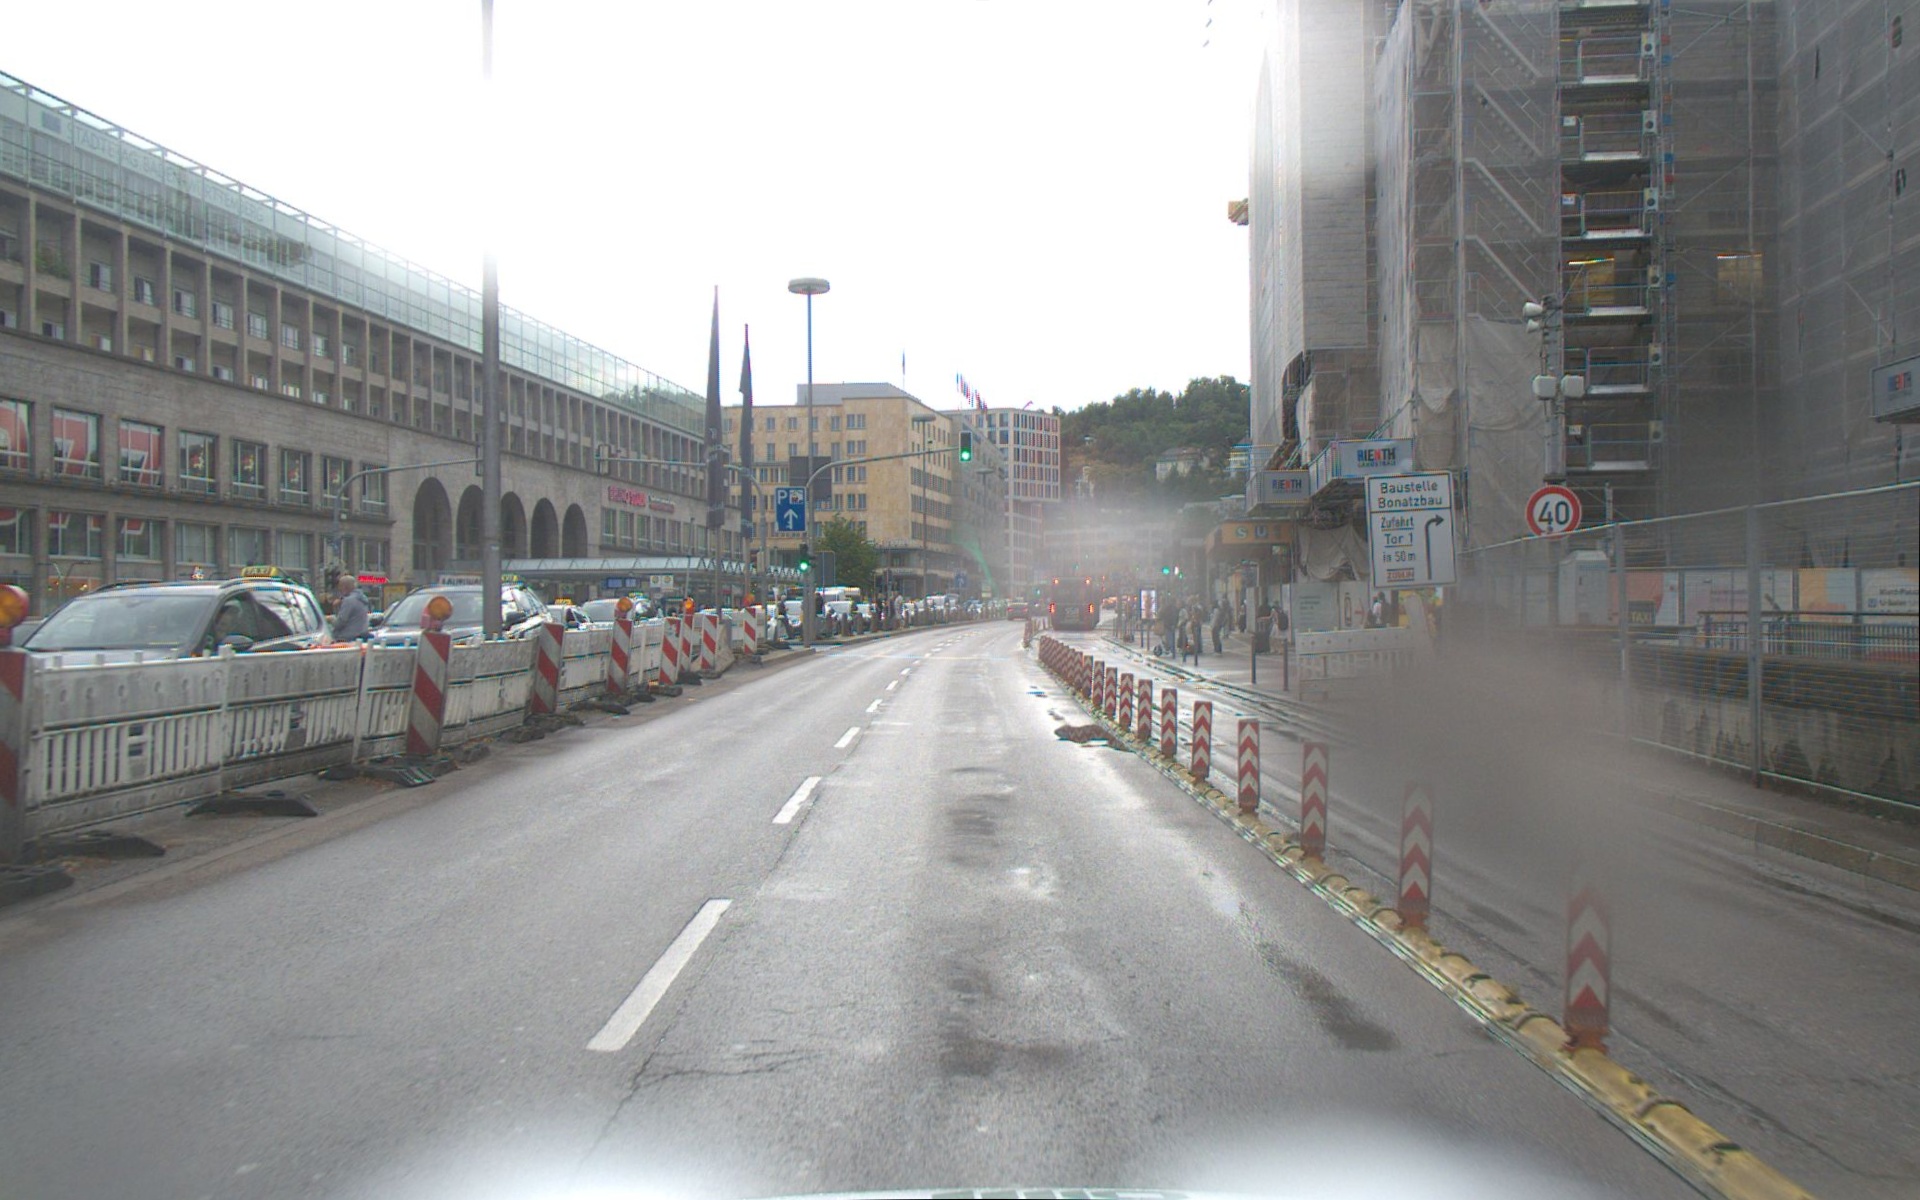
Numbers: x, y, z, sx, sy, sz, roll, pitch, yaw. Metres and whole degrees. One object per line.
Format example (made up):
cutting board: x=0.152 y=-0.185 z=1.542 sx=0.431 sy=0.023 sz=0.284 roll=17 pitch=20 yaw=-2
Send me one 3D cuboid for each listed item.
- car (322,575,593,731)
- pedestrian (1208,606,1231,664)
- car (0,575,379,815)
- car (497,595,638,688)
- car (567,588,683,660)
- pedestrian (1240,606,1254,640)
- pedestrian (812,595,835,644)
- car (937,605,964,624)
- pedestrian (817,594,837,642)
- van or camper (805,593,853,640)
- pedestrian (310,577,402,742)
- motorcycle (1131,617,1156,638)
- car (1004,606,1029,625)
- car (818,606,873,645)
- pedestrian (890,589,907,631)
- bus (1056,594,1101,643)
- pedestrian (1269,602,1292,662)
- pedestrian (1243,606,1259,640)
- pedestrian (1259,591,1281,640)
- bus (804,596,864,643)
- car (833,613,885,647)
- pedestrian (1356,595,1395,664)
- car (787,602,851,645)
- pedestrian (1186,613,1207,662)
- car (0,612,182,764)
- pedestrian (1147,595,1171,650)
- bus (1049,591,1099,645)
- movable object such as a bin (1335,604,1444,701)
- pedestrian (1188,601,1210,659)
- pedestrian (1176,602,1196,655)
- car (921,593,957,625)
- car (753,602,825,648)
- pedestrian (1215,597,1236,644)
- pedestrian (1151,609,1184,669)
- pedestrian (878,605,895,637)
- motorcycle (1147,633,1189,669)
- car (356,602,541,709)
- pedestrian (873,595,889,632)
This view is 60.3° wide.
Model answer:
car: x=-6.603 y=0.635 z=22.358 sx=1.952 sy=1.849 sz=4.812 roll=-1 pitch=0 yaw=3
pedestrian: x=7.652 y=1.036 z=48.752 sx=0.546 sy=1.679 sz=0.615 roll=-3 pitch=-1 yaw=6
car: x=-7.179 y=0.719 z=14.926 sx=1.952 sy=1.801 sz=4.812 roll=-1 pitch=0 yaw=3
car: x=-8.765 y=0.881 z=37.305 sx=1.863 sy=1.931 sz=4.525 roll=1 pitch=0 yaw=3
car: x=-8.596 y=0.586 z=42.808 sx=1.863 sy=1.729 sz=4.501 roll=1 pitch=0 yaw=3
pedestrian: x=15.976 y=1.269 z=92.065 sx=0.631 sy=1.880 sz=0.659 roll=-3 pitch=-1 yaw=5
pedestrian: x=-5.124 y=0.745 z=62.219 sx=0.767 sy=1.806 sz=0.605 roll=-3 pitch=-1 yaw=-7
car: x=-0.787 y=1.212 z=139.012 sx=1.952 sy=1.579 sz=4.001 roll=-1 pitch=-1 yaw=3
pedestrian: x=-4.930 y=0.657 z=61.274 sx=0.637 sy=1.741 sz=0.593 roll=1 pitch=0 yaw=4
van or camper: x=-7.635 y=0.947 z=96.903 sx=1.952 sy=2.558 sz=5.372 roll=-3 pitch=-1 yaw=4
pedestrian: x=-7.616 y=0.739 z=20.894 sx=0.857 sy=2.049 sz=0.821 roll=0 pitch=-1 yaw=-1
motorcycle: x=10.683 y=1.615 z=96.052 sx=0.577 sy=1.186 sz=1.606 roll=0 pitch=-1 yaw=44
car: x=4.732 y=1.310 z=138.306 sx=1.952 sy=1.579 sz=4.000 roll=-1 pitch=-1 yaw=0
car: x=-5.421 y=1.218 z=78.869 sx=1.889 sy=1.720 sz=4.684 roll=-2 pitch=-1 yaw=5
pedestrian: x=-2.986 y=0.481 z=80.797 sx=0.707 sy=2.043 sz=0.773 roll=1 pitch=-1 yaw=5
bus: x=8.037 y=1.237 z=110.986 sx=2.697 sy=3.120 sz=8.998 roll=1 pitch=-1 yaw=6
pedestrian: x=9.263 y=0.918 z=47.855 sx=0.552 sy=1.679 sz=0.615 roll=-3 pitch=-1 yaw=10
pedestrian: x=13.847 y=1.086 z=78.644 sx=0.637 sy=1.566 sz=0.665 roll=-3 pitch=-1 yaw=6
pedestrian: x=10.574 y=0.527 z=56.421 sx=0.537 sy=1.661 sz=0.996 roll=-3 pitch=-1 yaw=5
bus: x=-9.619 y=1.480 z=127.735 sx=2.816 sy=3.520 sz=10.581 roll=0 pitch=-1 yaw=6
car: x=-5.182 y=1.551 z=85.455 sx=1.889 sy=1.604 sz=5.263 roll=-2 pitch=-1 yaw=5
pedestrian: x=10.551 y=0.749 z=42.015 sx=0.720 sy=1.707 sz=0.958 roll=-3 pitch=-1 yaw=4
car: x=-5.940 y=0.994 z=70.148 sx=1.889 sy=1.720 sz=4.684 roll=-2 pitch=-1 yaw=5
pedestrian: x=7.226 y=1.143 z=50.602 sx=0.546 sy=1.474 sz=0.712 roll=-3 pitch=-1 yaw=6
car: x=-13.746 y=1.244 z=25.103 sx=1.953 sy=2.049 sz=4.000 roll=1 pitch=0 yaw=0
pedestrian: x=6.604 y=0.748 z=54.867 sx=0.547 sy=1.790 sz=0.750 roll=-3 pitch=-1 yaw=-8
bus: x=7.106 y=1.120 z=101.971 sx=2.697 sy=3.122 sz=9.085 roll=1 pitch=-1 yaw=6
movable object such as a bin: x=7.043 y=0.843 z=27.087 sx=1.276 sy=1.518 sz=1.529 roll=-1 pitch=-1 yaw=34
pedestrian: x=7.482 y=0.931 z=51.809 sx=0.546 sy=1.782 sz=0.712 roll=-3 pitch=-1 yaw=6
pedestrian: x=7.331 y=0.927 z=53.603 sx=0.546 sy=1.669 sz=0.752 roll=-3 pitch=-1 yaw=6
car: x=-1.494 y=0.650 z=120.743 sx=1.951 sy=2.217 sz=5.548 roll=-1 pitch=-1 yaw=7
car: x=-6.442 y=0.920 z=62.716 sx=1.973 sy=1.649 sz=4.844 roll=0 pitch=0 yaw=3
pedestrian: x=10.890 y=0.843 z=67.889 sx=0.707 sy=1.880 sz=0.811 roll=-3 pitch=-1 yaw=5
pedestrian: x=6.223 y=1.158 z=49.644 sx=0.575 sy=1.771 sz=0.811 roll=0 pitch=-1 yaw=-37
pedestrian: x=-3.735 y=1.070 z=84.511 sx=0.707 sy=1.635 sz=0.996 roll=1 pitch=0 yaw=5
motorcycle: x=6.234 y=1.522 z=49.628 sx=0.580 sy=1.039 sz=1.223 roll=0 pitch=-1 yaw=-37
car: x=-9.185 y=0.940 z=30.072 sx=1.746 sy=1.752 sz=4.484 roll=-1 pitch=0 yaw=3
pedestrian: x=-3.851 y=0.641 z=80.679 sx=0.684 sy=1.785 sz=0.712 roll=0 pitch=-1 yaw=5
